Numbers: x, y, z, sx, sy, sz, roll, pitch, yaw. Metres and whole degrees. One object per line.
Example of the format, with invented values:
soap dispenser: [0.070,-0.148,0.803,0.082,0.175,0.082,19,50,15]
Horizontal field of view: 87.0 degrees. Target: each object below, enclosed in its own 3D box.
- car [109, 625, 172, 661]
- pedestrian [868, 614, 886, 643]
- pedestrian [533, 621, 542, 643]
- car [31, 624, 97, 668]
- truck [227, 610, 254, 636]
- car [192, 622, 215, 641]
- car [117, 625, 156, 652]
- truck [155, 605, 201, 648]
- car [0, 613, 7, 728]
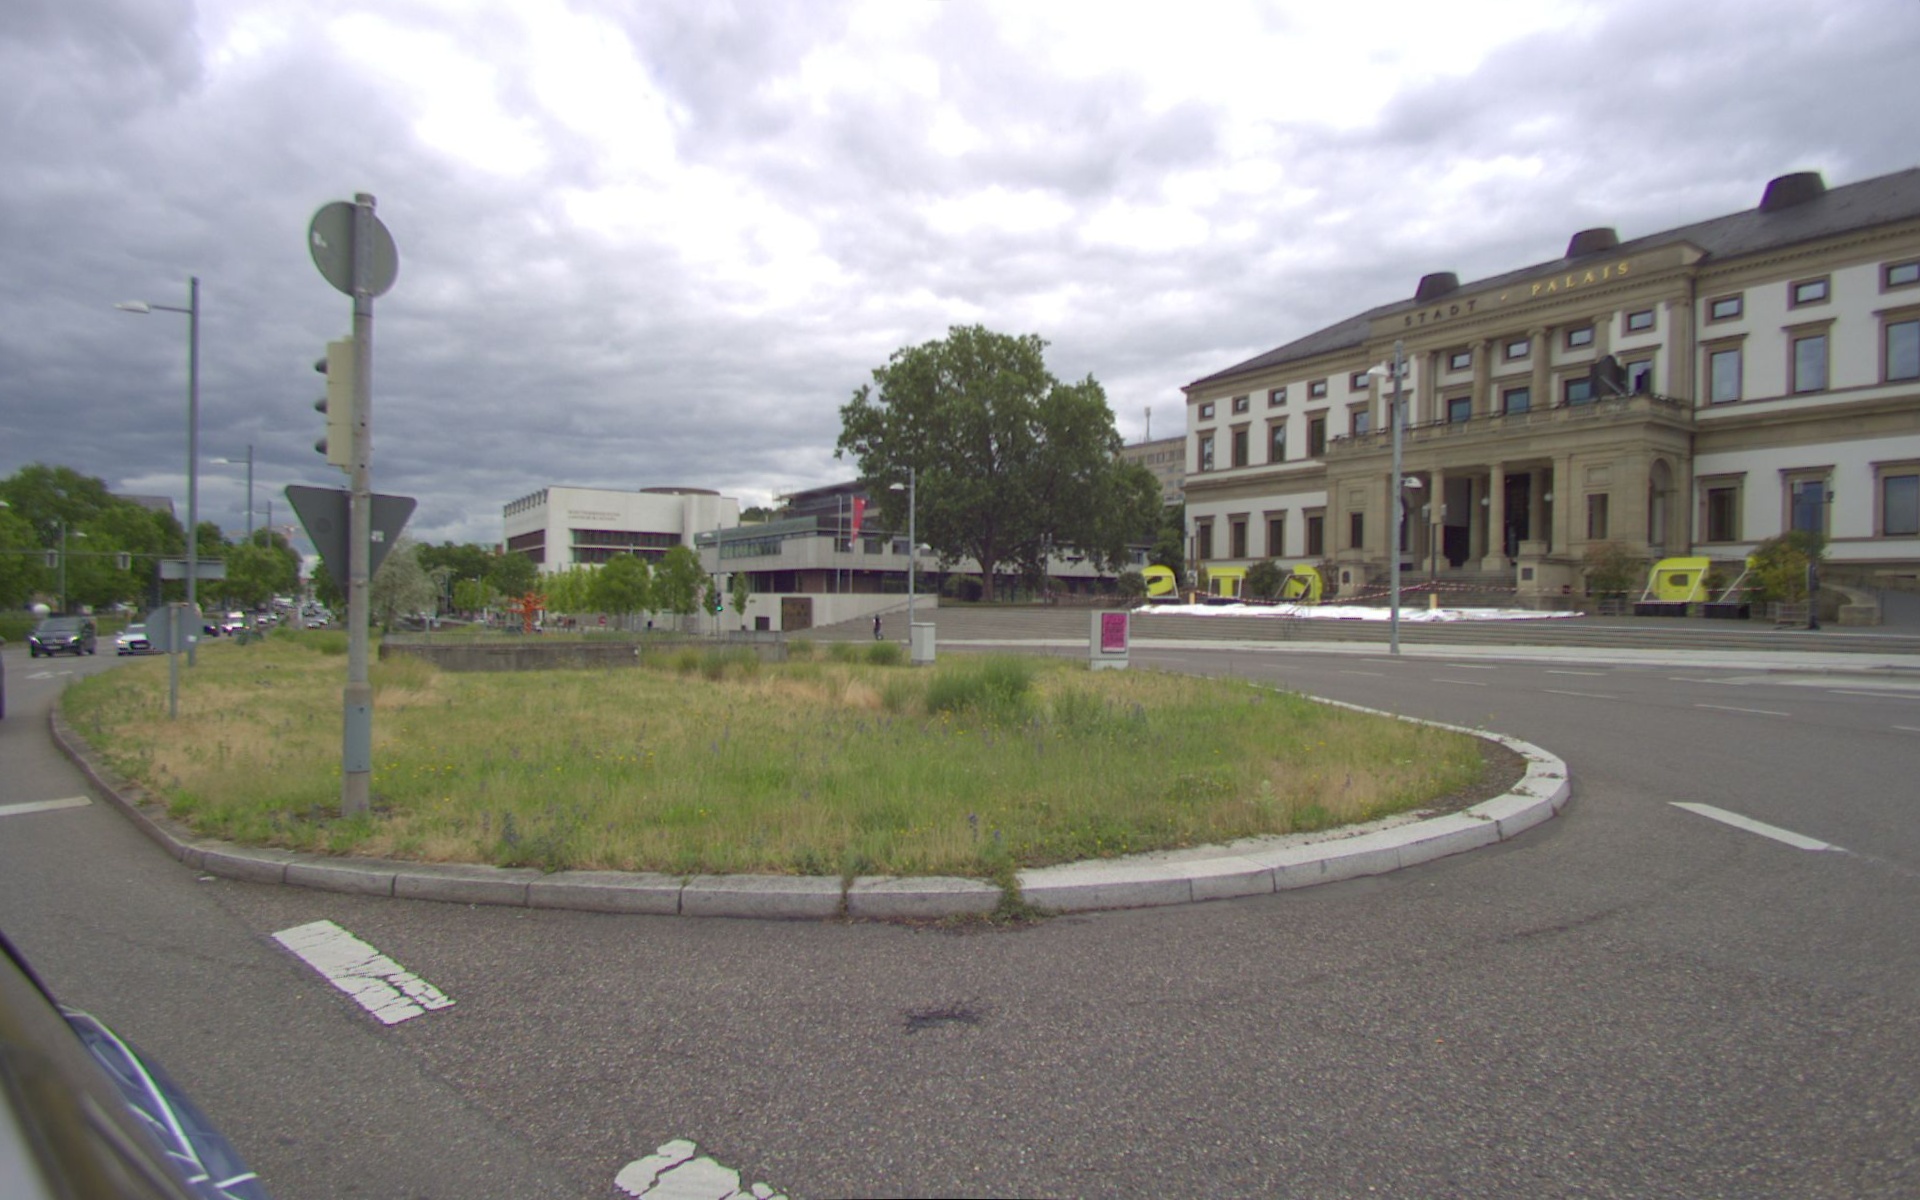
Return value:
car: [-39.100,2.025,48.390,2.062,1.621,4.423,1,-1,-36]
pedestrian: [-5.024,1.714,61.315,0.672,1.761,0.893,0,-1,-39]
pedestrian: [-32.084,2.457,76.862,0.468,1.647,0.442,-1,-1,27]
car: [-43.447,2.195,49.152,1.830,2.003,4.653,1,-1,-35]
truck: [-80.229,2.533,112.924,1.923,2.805,5.806,0,-1,-30]
car: [-78.557,3.249,105.098,1.754,1.922,3.809,0,-2,-34]
car: [-57.373,2.676,70.574,1.830,1.752,3.749,0,-1,-35]
truck: [-70.523,2.372,91.404,2.683,3.643,9.202,0,-1,-34]
car: [-13.840,0.994,13.056,1.974,1.651,5.028,0,-1,-40]
